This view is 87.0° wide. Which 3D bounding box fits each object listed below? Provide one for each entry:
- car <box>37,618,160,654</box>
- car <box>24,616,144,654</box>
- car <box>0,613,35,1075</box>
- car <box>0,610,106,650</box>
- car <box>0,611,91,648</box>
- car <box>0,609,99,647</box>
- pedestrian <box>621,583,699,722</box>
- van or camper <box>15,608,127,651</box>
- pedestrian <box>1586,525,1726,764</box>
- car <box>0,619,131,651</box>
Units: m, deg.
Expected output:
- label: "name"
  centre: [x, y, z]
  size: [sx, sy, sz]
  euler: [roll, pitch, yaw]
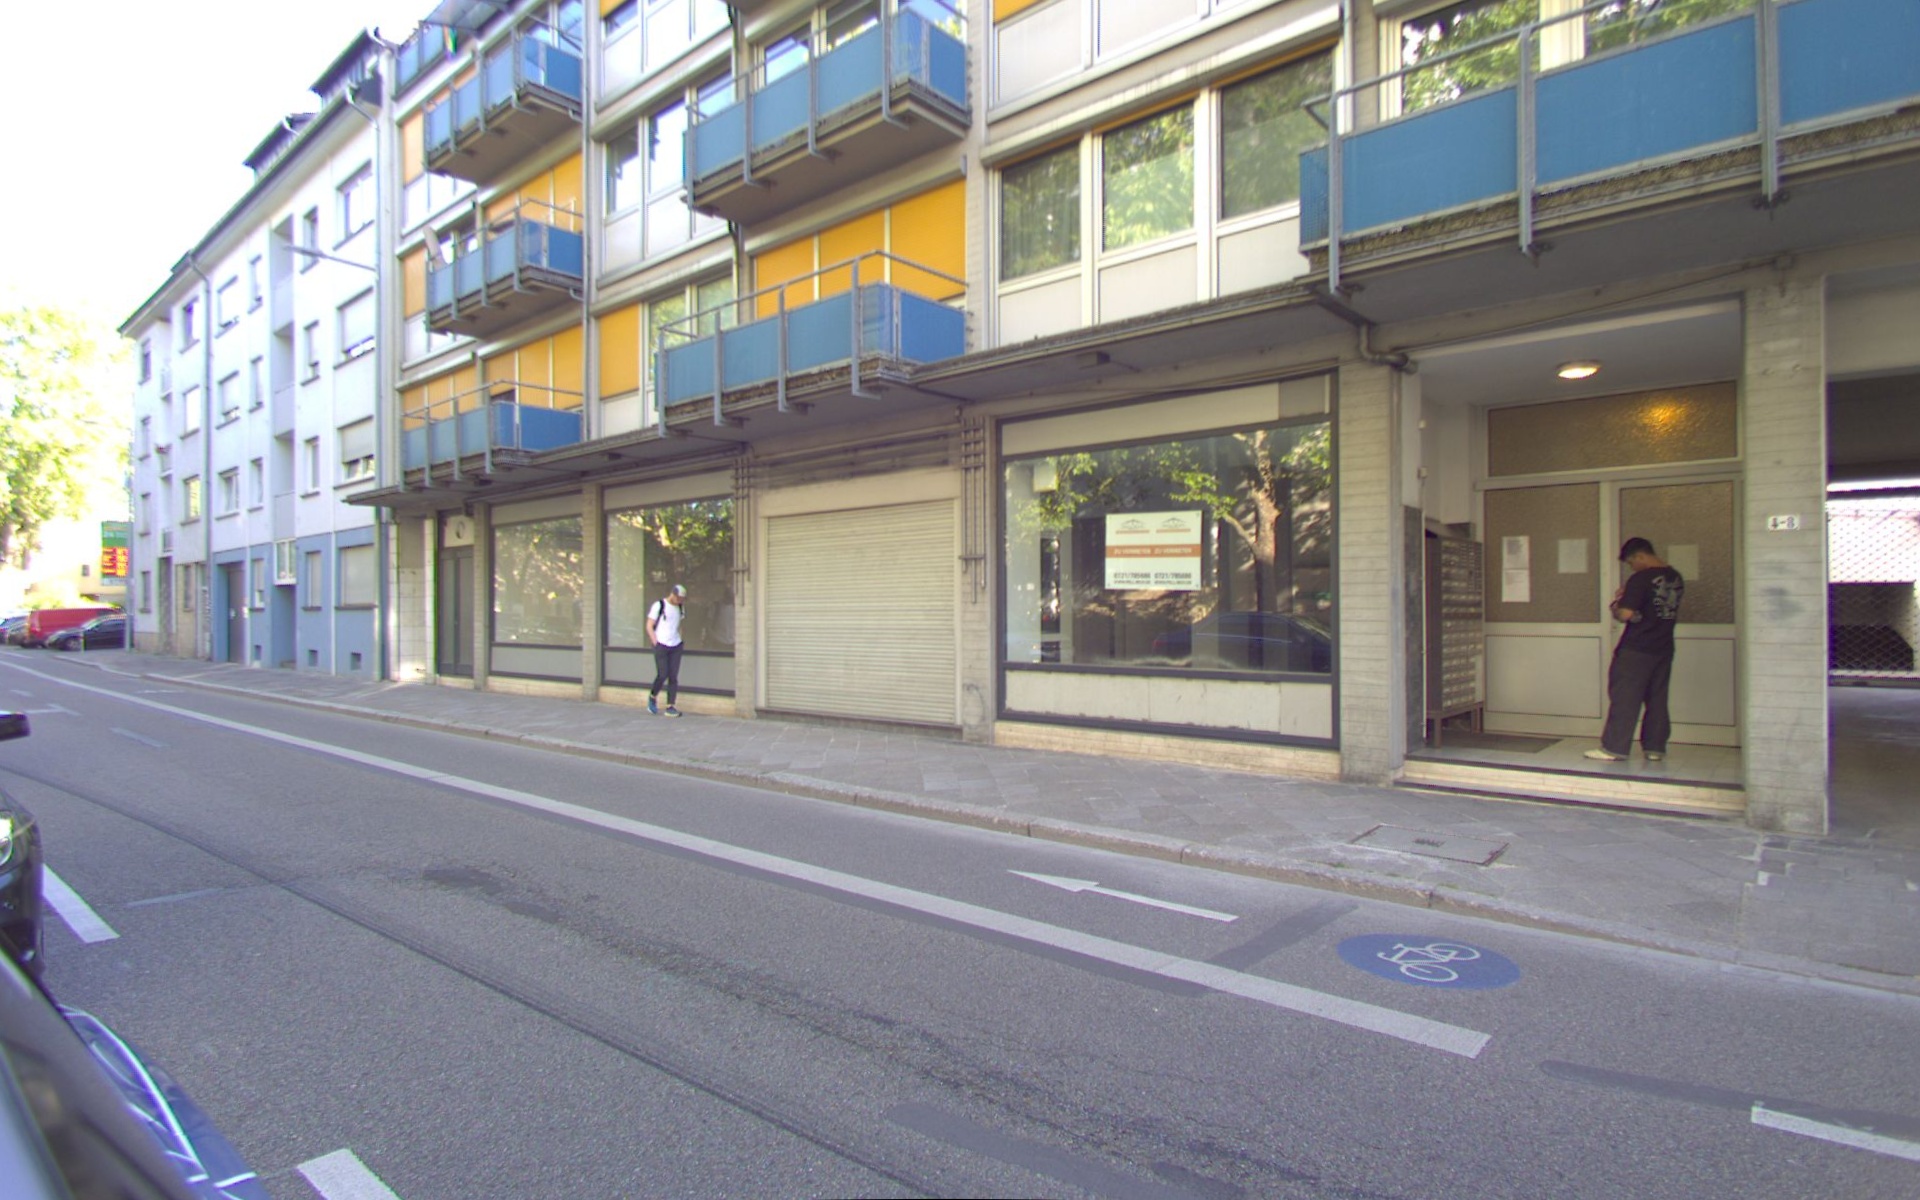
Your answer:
- label: "car"
  centre: [-39.744, 1.633, 46.776]
  size: [1.999, 1.506, 4.093]
  euler: [-1, -1, 41]
- label: "car"
  centre: [-41.624, 1.622, 48.161]
  size: [1.999, 1.703, 4.093]
  euler: [-1, -1, 41]
- label: "car"
  centre: [-5.021, 0.807, 3.871]
  size: [3.861, 1.467, 1.718]
  euler: [-1, -1, 40]
- label: "car"
  centre: [-53.306, 1.738, 59.194]
  size: [1.999, 2.210, 4.927]
  euler: [-1, -1, 41]
- label: "car"
  centre: [-57.387, 1.824, 62.854]
  size: [1.999, 2.210, 4.927]
  euler: [-1, -1, 41]
- label: "car"
  centre: [-55.394, 1.673, 61.145]
  size: [1.999, 2.210, 4.927]
  euler: [-1, -1, 41]
- label: "pedestrian"
  centre: [-4.088, 0.688, 13.780]
  size: [0.879, 1.813, 0.593]
  euler: [-1, 0, 42]
- label: "van or camper"
  centre: [-43.881, 1.432, 50.003]
  size: [1.999, 2.029, 3.946]
  euler: [-1, -1, 40]
- label: "pedestrian"
  centre: [5.251, 0.320, 7.652]
  size: [0.650, 1.726, 0.550]
  euler: [0, -1, -16]
- label: "car"
  centre: [-45.713, 1.752, 51.695]
  size: [1.999, 1.506, 4.927]
  euler: [-1, -1, 41]
